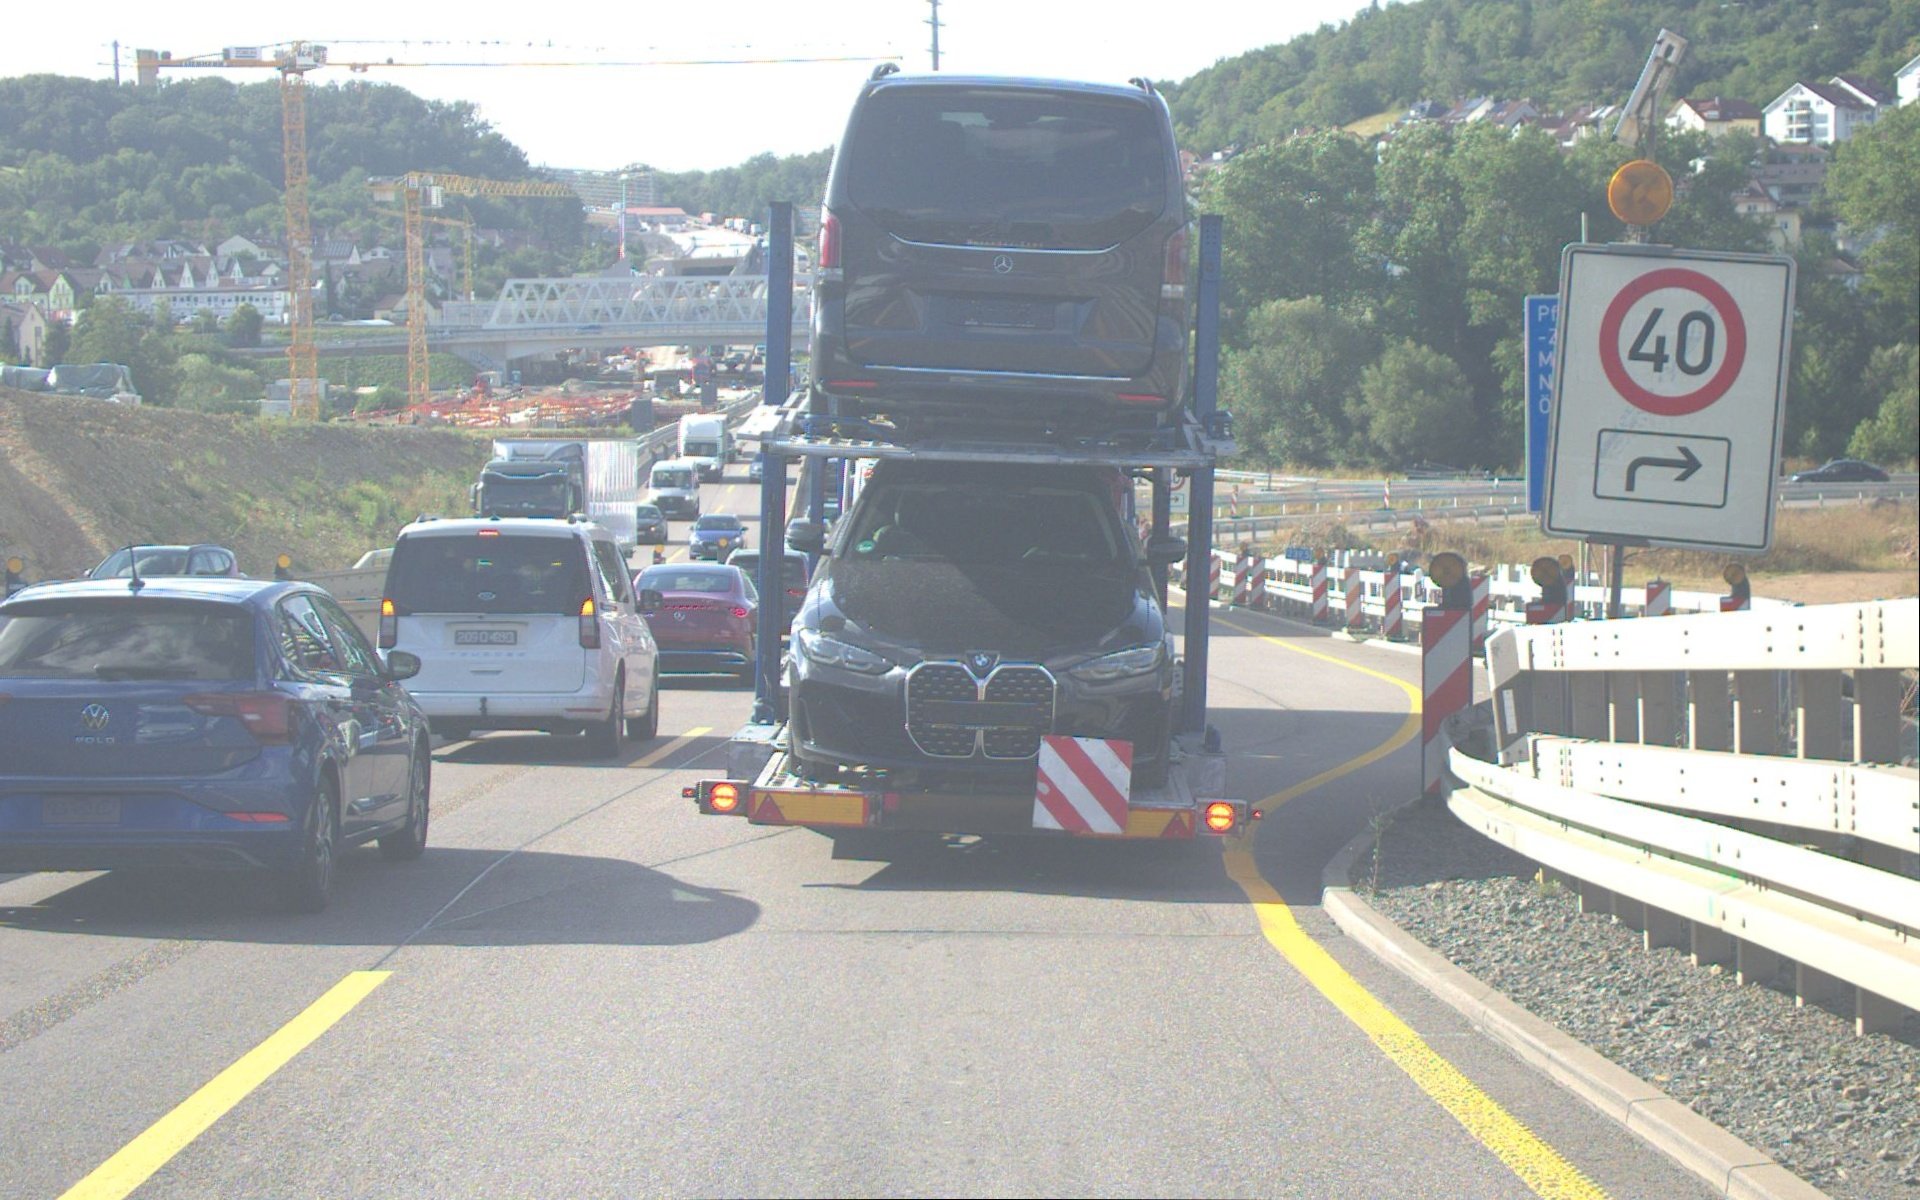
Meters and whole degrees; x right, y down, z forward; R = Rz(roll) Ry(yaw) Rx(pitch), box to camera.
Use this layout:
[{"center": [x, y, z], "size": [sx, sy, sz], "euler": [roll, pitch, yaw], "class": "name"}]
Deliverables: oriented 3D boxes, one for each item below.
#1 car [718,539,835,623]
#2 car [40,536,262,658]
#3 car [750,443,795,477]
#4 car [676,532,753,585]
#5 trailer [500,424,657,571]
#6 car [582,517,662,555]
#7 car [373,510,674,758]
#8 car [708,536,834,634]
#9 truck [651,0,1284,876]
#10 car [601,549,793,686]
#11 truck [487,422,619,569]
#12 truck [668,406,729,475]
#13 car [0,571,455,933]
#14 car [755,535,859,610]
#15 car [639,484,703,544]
[{"center": [-3.501, -0.361, 66.349], "size": [1.993, 1.547, 4.000], "euler": [1, 0, 0], "class": "car"}, {"center": [-12.298, -0.046, 52.544], "size": [1.924, 1.761, 4.325], "euler": [1, 0, 7], "class": "car"}, {"center": [-9.740, -7.302, 179.188], "size": [2.125, 1.668, 4.273], "euler": [0, 3, 0], "class": "car"}, {"center": [-8.170, -1.366, 114.764], "size": [1.994, 1.721, 4.122], "euler": [1, 0, 4], "class": "car"}, {"center": [-10.819, -2.790, 98.924], "size": [2.821, 3.828, 13.803], "euler": [1, 0, 0], "class": "trailer"}, {"center": [-12.192, -2.303, 124.218], "size": [1.920, 1.268, 3.998], "euler": [1, 0, 9], "class": "car"}, {"center": [-3.352, 0.240, 27.060], "size": [1.823, 1.786, 4.000], "euler": [1, 0, 0], "class": "car"}, {"center": [-3.186, -0.249, 57.225], "size": [1.993, 1.547, 4.001], "euler": [1, 0, -4], "class": "car"}, {"center": [0.101, -0.784, 25.011], "size": [2.753, 3.941, 18.889], "euler": [2, 0, 0], "class": "truck"}, {"center": [-3.131, 0.194, 41.789], "size": [1.993, 1.551, 4.401], "euler": [1, 0, 0], "class": "car"}, {"center": [-10.925, -2.762, 92.771], "size": [2.776, 3.775, 6.018], "euler": [1, 0, 0], "class": "truck"}, {"center": [-13.683, -8.338, 180.547], "size": [2.700, 3.300, 7.537], "euler": [1, 0, -1], "class": "truck"}, {"center": [-3.508, 0.599, 15.835], "size": [1.722, 1.417, 4.000], "euler": [-1, 1, 0], "class": "car"}, {"center": [-3.244, -0.580, 73.407], "size": [1.993, 1.547, 4.000], "euler": [1, 0, 0], "class": "car"}, {"center": [-12.408, -3.680, 147.956], "size": [2.258, 2.394, 5.867], "euler": [1, 0, 0], "class": "car"}]
